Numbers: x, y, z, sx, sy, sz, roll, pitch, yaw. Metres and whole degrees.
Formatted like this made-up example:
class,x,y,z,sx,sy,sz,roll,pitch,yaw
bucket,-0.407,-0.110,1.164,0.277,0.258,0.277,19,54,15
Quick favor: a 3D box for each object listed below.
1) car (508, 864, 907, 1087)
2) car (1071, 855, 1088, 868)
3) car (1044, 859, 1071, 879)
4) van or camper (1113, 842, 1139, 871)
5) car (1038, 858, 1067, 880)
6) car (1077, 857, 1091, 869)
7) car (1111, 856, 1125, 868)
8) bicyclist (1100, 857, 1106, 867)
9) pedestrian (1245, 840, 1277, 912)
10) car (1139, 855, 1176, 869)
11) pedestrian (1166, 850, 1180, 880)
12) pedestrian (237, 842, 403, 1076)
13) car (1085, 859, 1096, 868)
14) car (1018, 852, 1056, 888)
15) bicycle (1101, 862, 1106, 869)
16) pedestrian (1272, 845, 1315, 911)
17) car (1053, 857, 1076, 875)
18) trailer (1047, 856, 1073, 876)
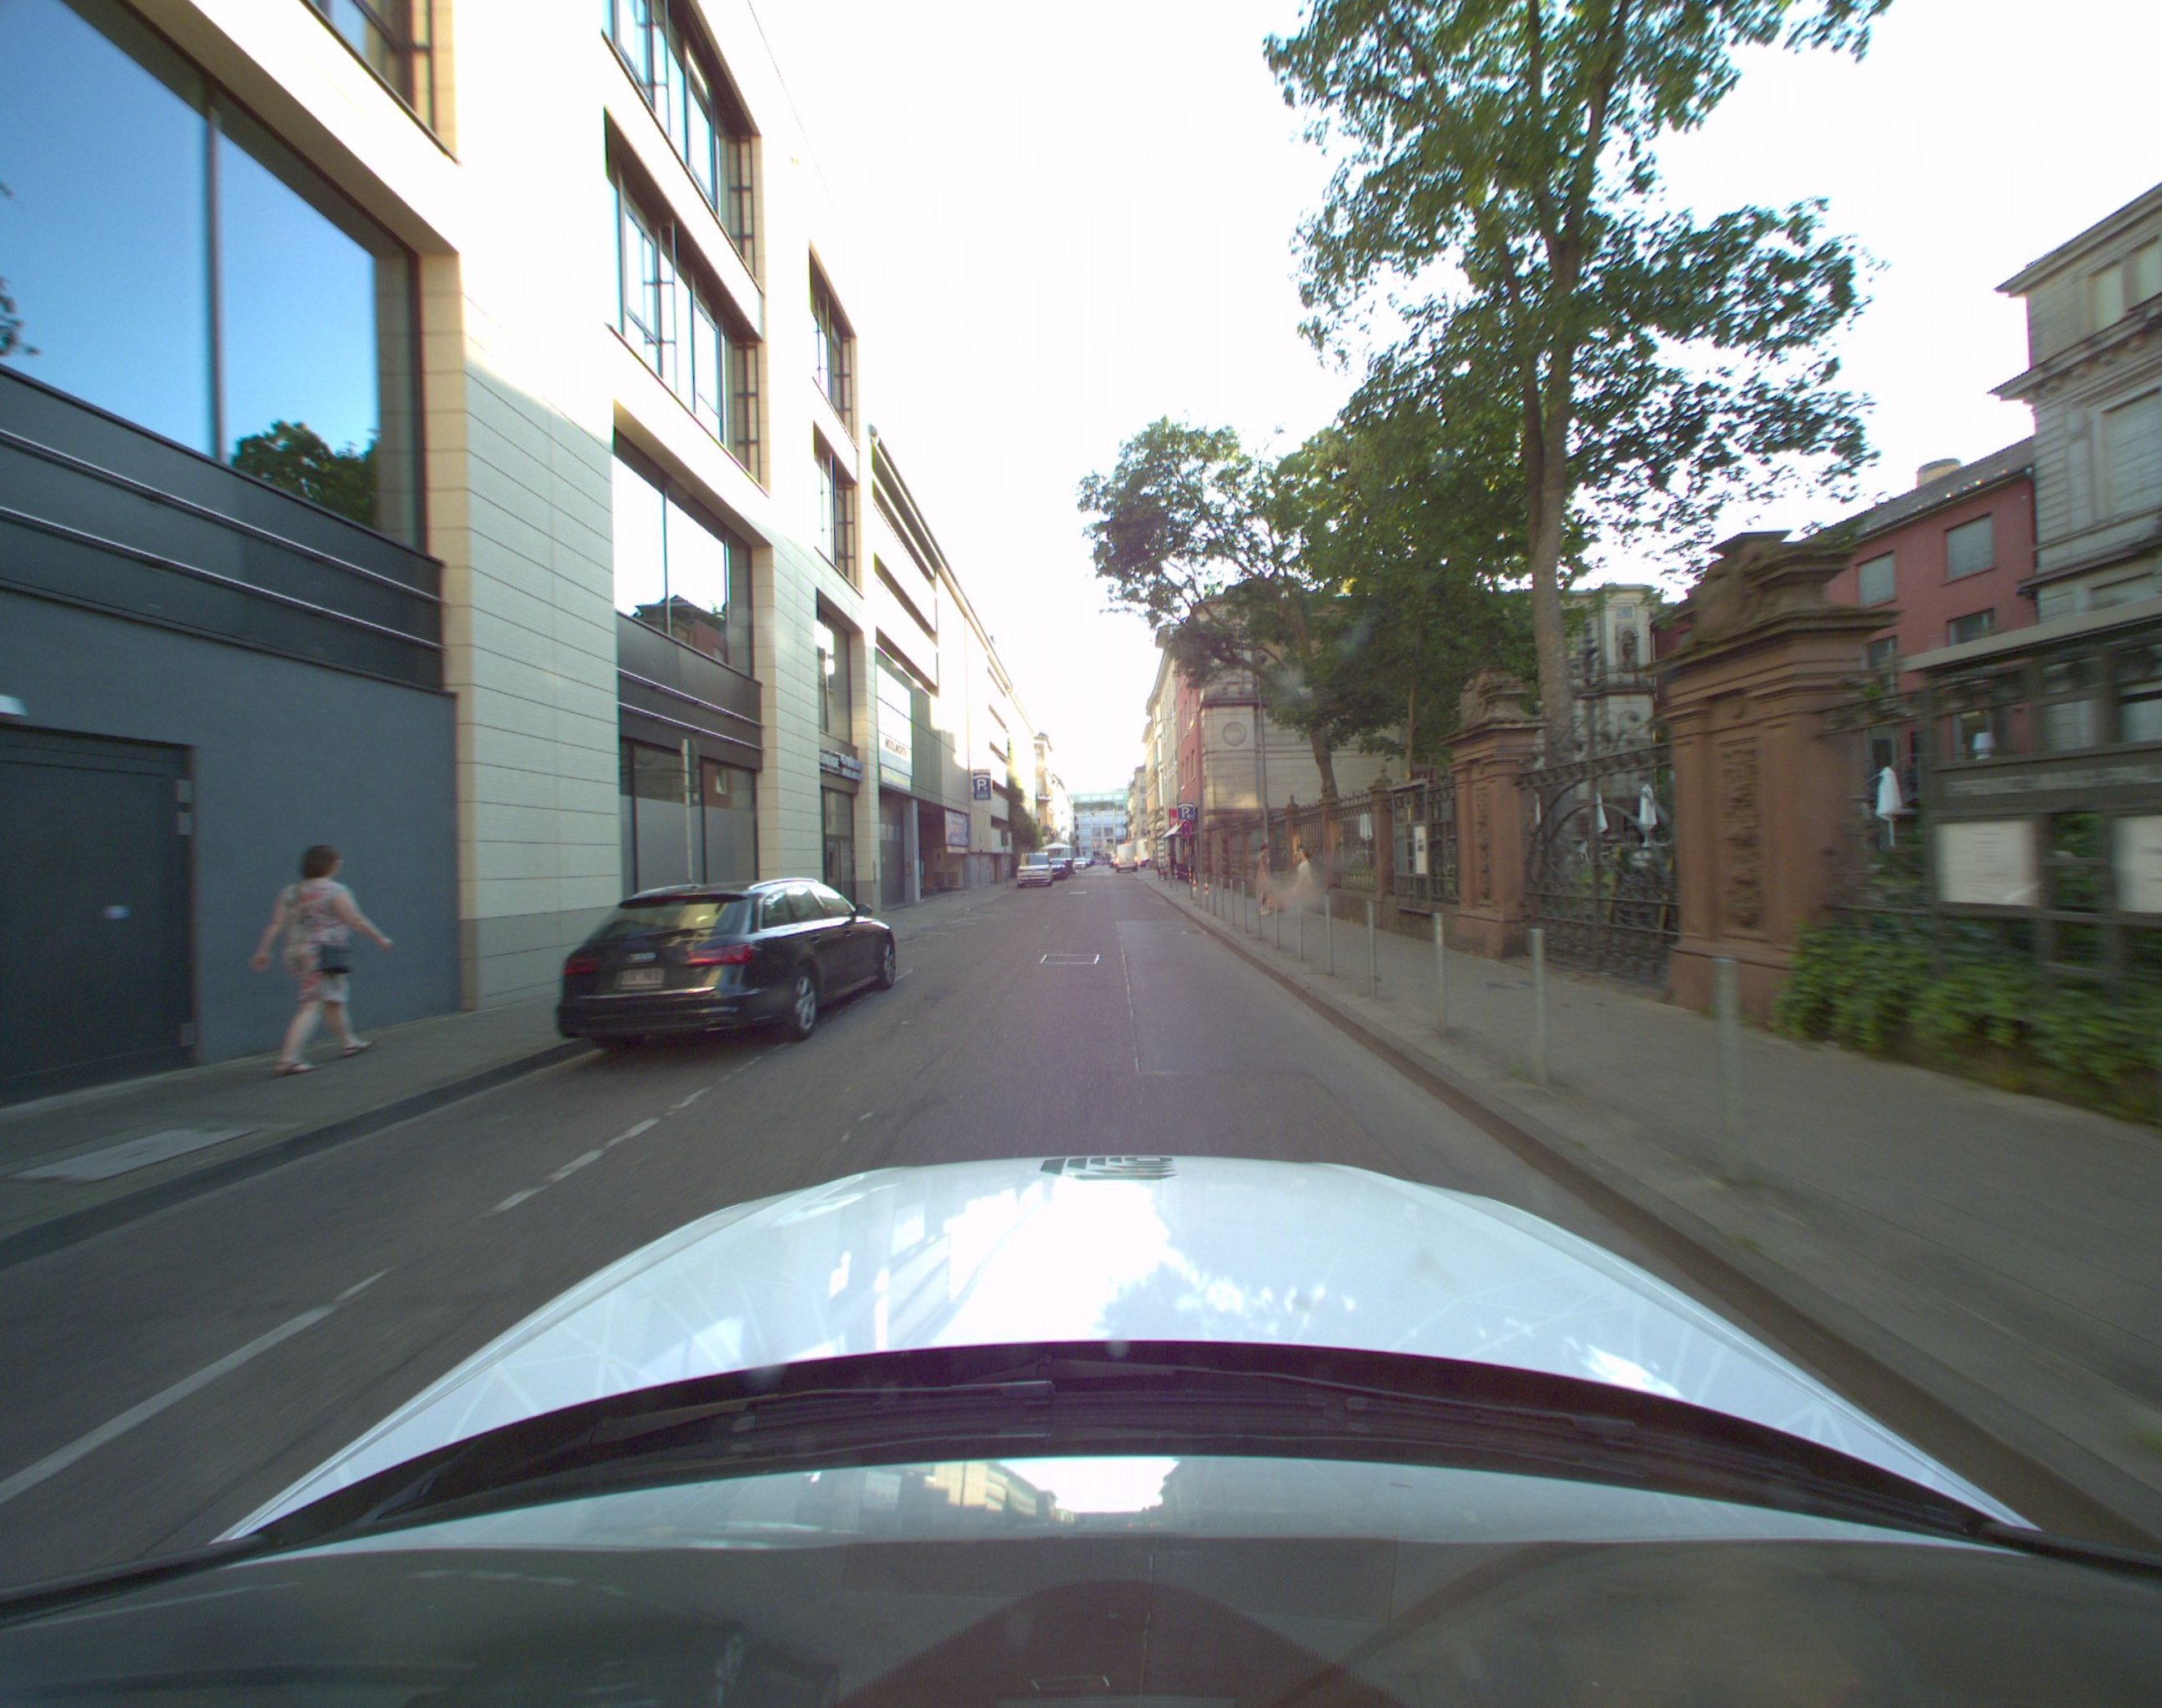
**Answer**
class,x,y,z,sx,sy,sz,roll,pitch,yaw
car,-3.351,0.953,8.549,1.876,1.598,4.690,-2,0,1
car,-0.145,0.969,106.337,1.986,1.684,4.001,-2,-1,2
car,-1.765,1.144,62.964,1.877,1.453,3.999,-2,0,0
van or camper,4.387,0.275,80.023,2.250,2.607,5.113,-6,-1,2
car,-1.978,1.042,58.100,1.877,1.453,3.999,-2,0,0
car,0.499,1.431,128.851,1.986,1.684,4.001,-2,-1,2
car,5.275,1.114,116.578,1.986,1.684,4.001,-2,-1,2
bicyclist,4.186,1.484,154.854,0.986,1.869,0.708,-2,-1,1
pedestrian,4.278,0.520,19.396,0.483,1.658,0.617,-3,0,-6
car,8.487,0.855,90.543,3.972,1.420,1.657,-2,-1,1
pedestrian,5.287,0.609,46.916,0.659,1.666,0.624,-4,0,1
pedestrian,-6.020,0.795,6.473,0.669,1.744,0.647,-2,-1,1
car,1.879,1.858,158.981,1.986,1.684,4.001,-2,-1,2
car,-2.497,0.867,46.864,1.877,1.912,4.747,-2,0,0
bicycle,4.226,2.120,154.940,0.971,1.280,2.755,-2,-1,2
pedestrian,5.032,0.559,19.351,0.748,1.499,0.618,-3,0,-4
car,-1.396,1.056,71.793,1.877,1.453,3.999,-2,0,0
trailer,-1.685,1.003,67.317,1.987,1.557,3.999,-2,-1,0
